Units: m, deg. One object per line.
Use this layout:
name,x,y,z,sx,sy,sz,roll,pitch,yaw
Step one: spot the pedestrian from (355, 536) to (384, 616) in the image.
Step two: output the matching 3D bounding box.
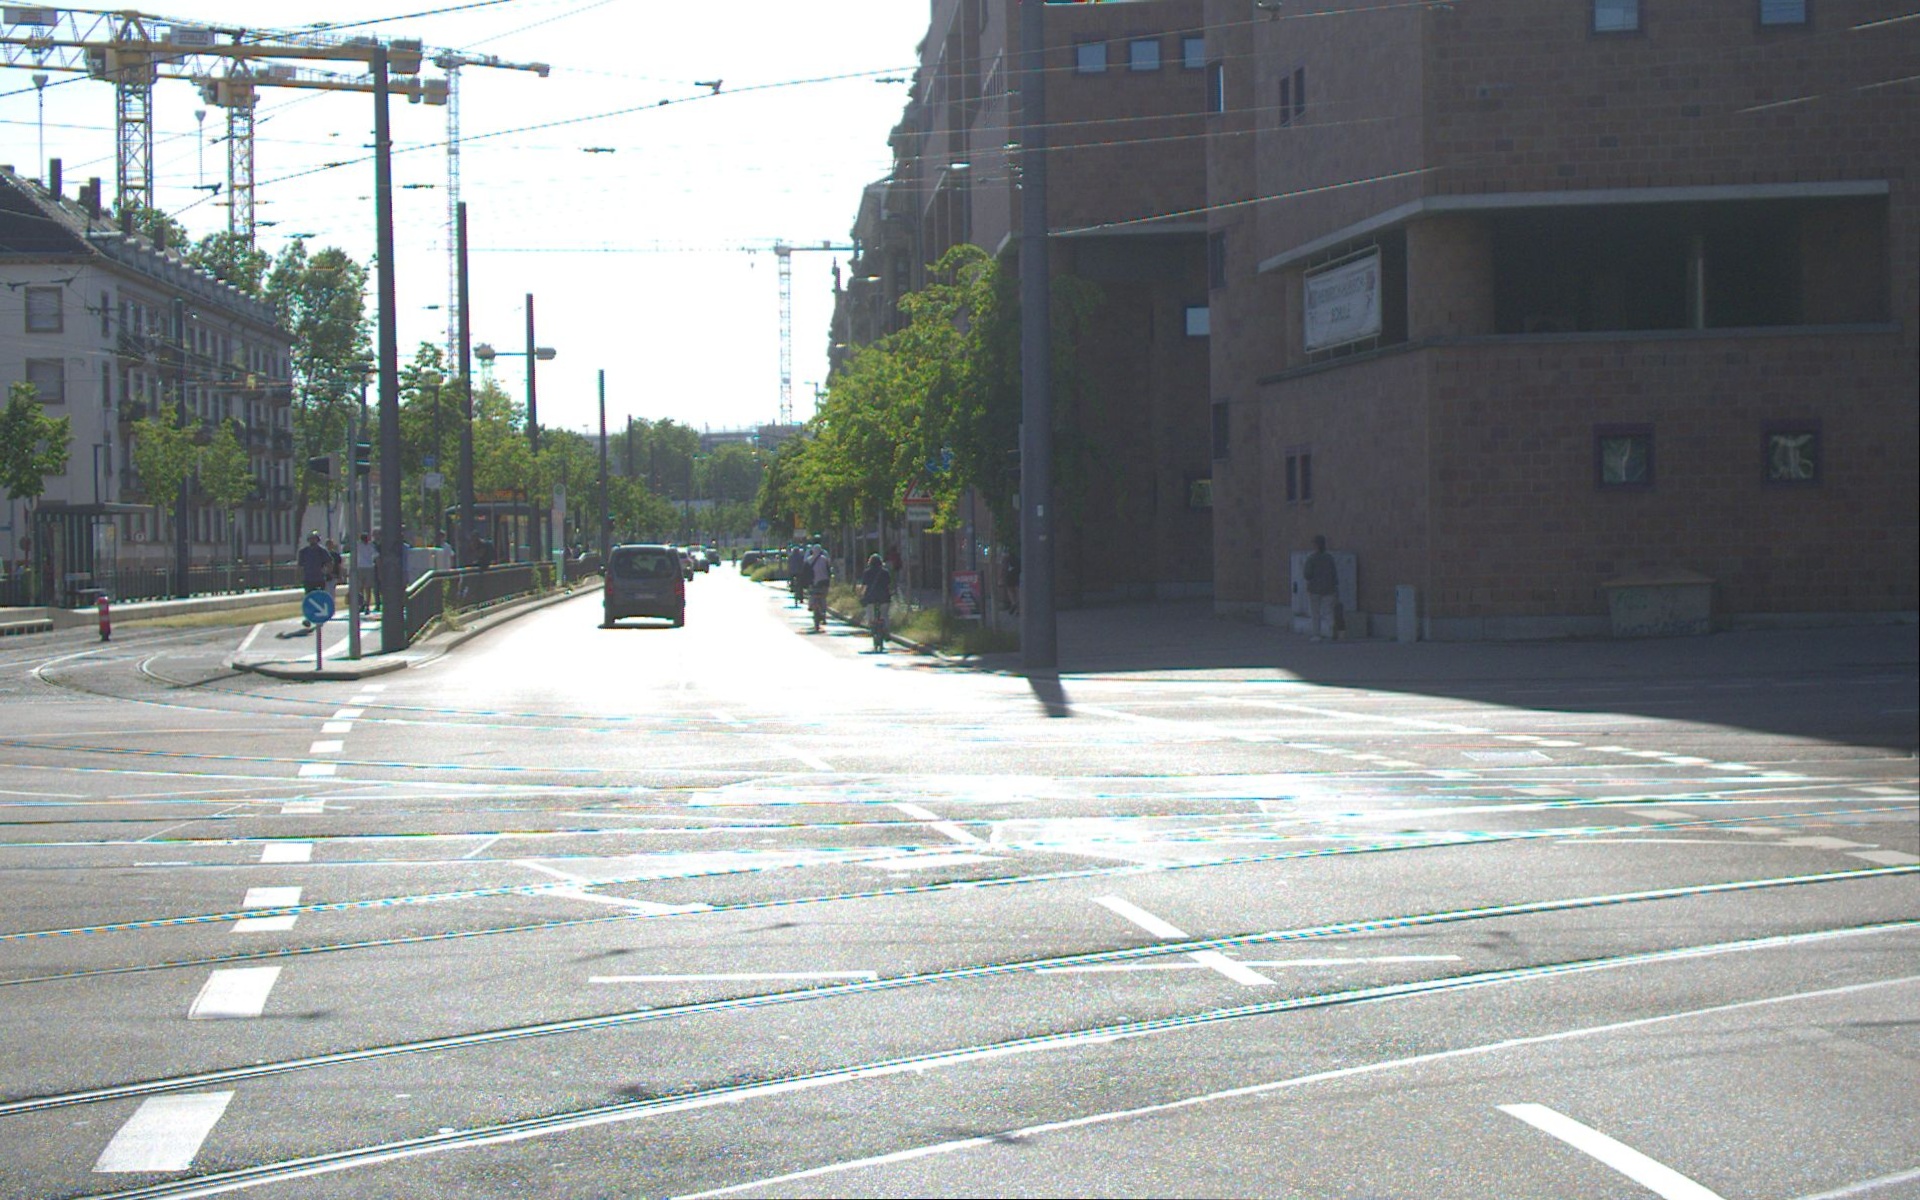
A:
pedestrian,-12.253,-0.504,71.392,0.510,1.649,0.762,-1,1,-6

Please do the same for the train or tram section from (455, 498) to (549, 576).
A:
train or tram section,-18.549,-2.605,139.864,2.326,2.993,13.161,0,1,-1

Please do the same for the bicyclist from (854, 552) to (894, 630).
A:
bicyclist,-1.496,-0.168,59.621,0.592,1.331,0.933,-1,1,-6

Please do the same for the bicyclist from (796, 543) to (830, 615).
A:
bicyclist,-3.108,-0.448,72.629,0.667,1.521,0.707,-1,1,-6

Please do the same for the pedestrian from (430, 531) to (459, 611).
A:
pedestrian,-10.781,-0.617,71.900,0.538,1.649,0.706,-1,1,-6

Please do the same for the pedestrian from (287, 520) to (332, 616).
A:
pedestrian,-11.708,-0.579,61.873,0.614,1.663,0.864,-4,2,-7

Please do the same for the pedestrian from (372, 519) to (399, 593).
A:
pedestrian,-12.108,-0.922,72.518,0.518,1.546,0.601,-1,1,-8

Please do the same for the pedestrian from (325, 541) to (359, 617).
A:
pedestrian,-12.893,-0.450,71.745,0.600,1.561,0.914,-1,1,-6

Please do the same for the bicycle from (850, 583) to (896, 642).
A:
bicycle,-1.516,0.211,59.893,0.603,0.982,2.315,-1,1,-6

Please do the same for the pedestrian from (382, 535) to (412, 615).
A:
pedestrian,-11.734,-0.528,71.665,0.538,1.649,0.896,-1,1,-6

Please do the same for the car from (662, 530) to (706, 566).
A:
car,-13.585,-2.549,168.916,1.993,1.722,4.001,-1,1,-6

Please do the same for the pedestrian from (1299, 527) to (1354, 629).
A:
pedestrian,5.672,-0.347,53.202,0.617,1.558,0.987,-1,1,-7

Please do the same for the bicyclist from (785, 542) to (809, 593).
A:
bicyclist,-4.889,-0.981,103.018,0.667,1.521,0.707,-1,1,-6

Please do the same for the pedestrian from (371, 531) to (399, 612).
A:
pedestrian,-12.643,-0.635,75.646,0.538,1.767,0.633,-1,1,-6

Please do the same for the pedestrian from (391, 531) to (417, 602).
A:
pedestrian,-13.011,-0.791,80.508,0.538,1.649,0.633,-1,1,-6

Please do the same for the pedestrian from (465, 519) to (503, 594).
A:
pedestrian,-11.081,-1.008,80.019,0.716,1.729,0.602,-1,1,-23

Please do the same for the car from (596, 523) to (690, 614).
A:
car,-7.128,-0.716,76.966,1.993,1.941,4.001,-1,1,-6

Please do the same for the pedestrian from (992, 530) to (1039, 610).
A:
pedestrian,1.196,-0.666,74.810,0.880,1.711,0.931,-1,1,-6

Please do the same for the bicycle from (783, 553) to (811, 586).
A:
bicycle,-4.879,-0.921,103.017,0.667,0.982,2.586,-1,1,-6

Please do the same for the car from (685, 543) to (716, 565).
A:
car,-17.462,-3.099,231.356,1.993,1.415,4.001,-1,1,-4

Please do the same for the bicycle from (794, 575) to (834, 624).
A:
bicycle,-3.087,-0.018,72.528,0.667,0.982,2.586,-1,1,-6
